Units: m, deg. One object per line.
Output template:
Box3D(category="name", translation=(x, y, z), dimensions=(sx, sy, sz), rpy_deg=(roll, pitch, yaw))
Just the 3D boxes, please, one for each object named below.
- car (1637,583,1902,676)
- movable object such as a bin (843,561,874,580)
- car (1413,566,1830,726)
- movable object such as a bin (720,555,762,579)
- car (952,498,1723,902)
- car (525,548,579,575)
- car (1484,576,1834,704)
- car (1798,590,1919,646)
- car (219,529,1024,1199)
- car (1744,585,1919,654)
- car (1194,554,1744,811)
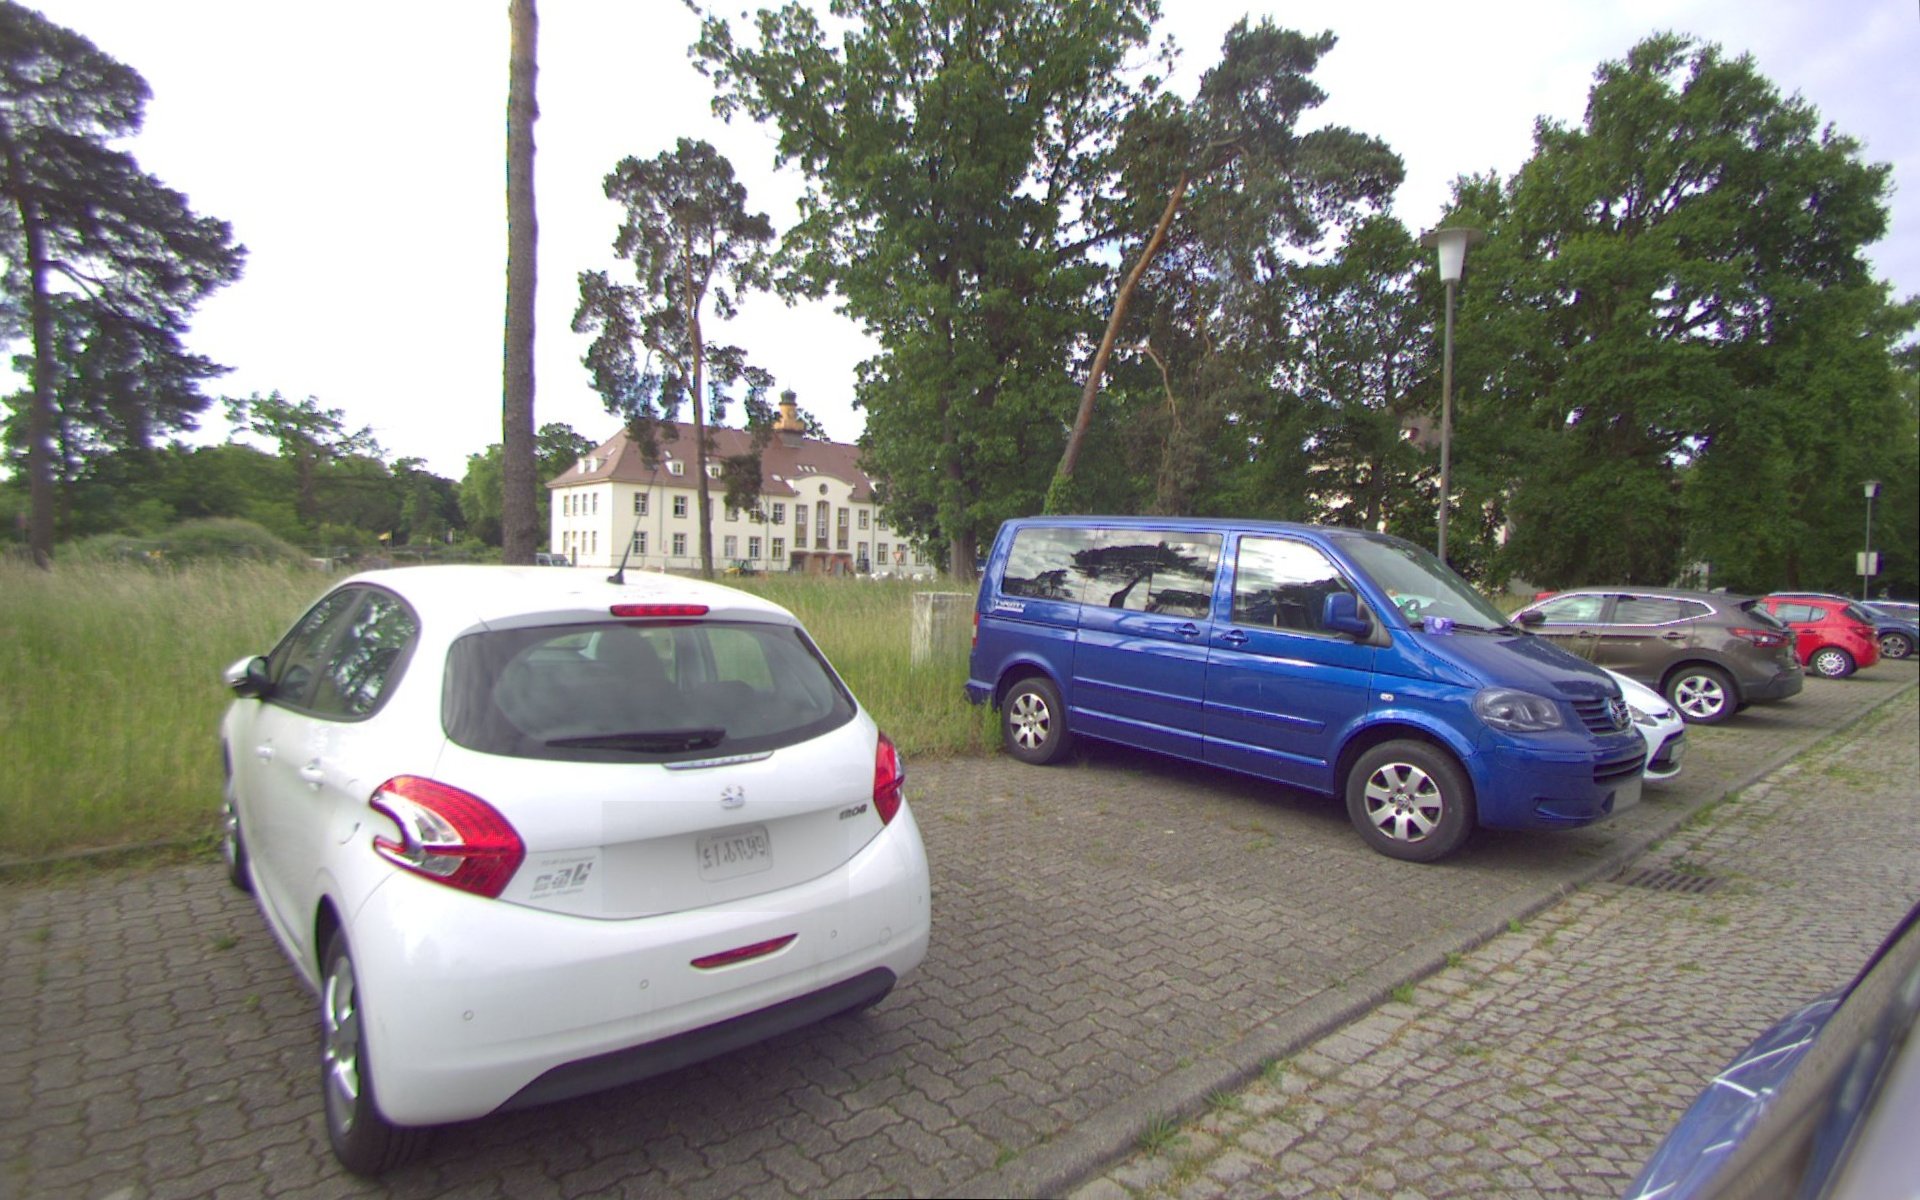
Box3D(category="car", translation=(16.035, 0.507, 20.193), dimensions=(1.555, 1.477, 3.891), rpy_deg=(0, 3, -42))
Box3D(category="movable object such as a bin", translation=(-11.110, -3.237, 110.757), dimensions=(2.933, 2.038, 1.552), rpy_deg=(0, 2, -41))
Box3D(category="car", translation=(8.555, 0.457, 13.406), dimensions=(1.791, 1.618, 4.267), rpy_deg=(0, 3, -42))
Box3D(category="movable object such as a bin", translation=(-19.148, -2.897, 88.412), dimensions=(3.181, 2.038, 1.682), rpy_deg=(0, 2, -34))
Box3D(category="car", translation=(2.312, 0.320, 7.356), dimensions=(1.969, 1.969, 4.816), rpy_deg=(0, 4, -42))
Box3D(category="car", translation=(-37.664, -3.574, 93.270), dimensions=(5.847, 2.268, 2.283), rpy_deg=(5, 3, 42))
Box3D(category="car", translation=(10.426, 0.490, 15.337), dimensions=(1.735, 1.504, 4.015), rpy_deg=(0, 3, -41))
Box3D(category="car", translation=(27.209, 0.528, 29.660), dimensions=(1.555, 1.443, 3.874), rpy_deg=(0, 3, -42))
Box3D(category="car", translation=(-1.730, 0.536, 4.051), dimensions=(1.727, 1.490, 3.872), rpy_deg=(0, 4, -40))
Box3D(category="car", translation=(23.589, 0.482, 26.845), dimensions=(1.555, 1.556, 4.146), rpy_deg=(0, 3, -42))
Box3D(category="car", translation=(4.268, 0.504, 8.945), dimensions=(1.810, 1.489, 3.871), rpy_deg=(0, 6, -42))
